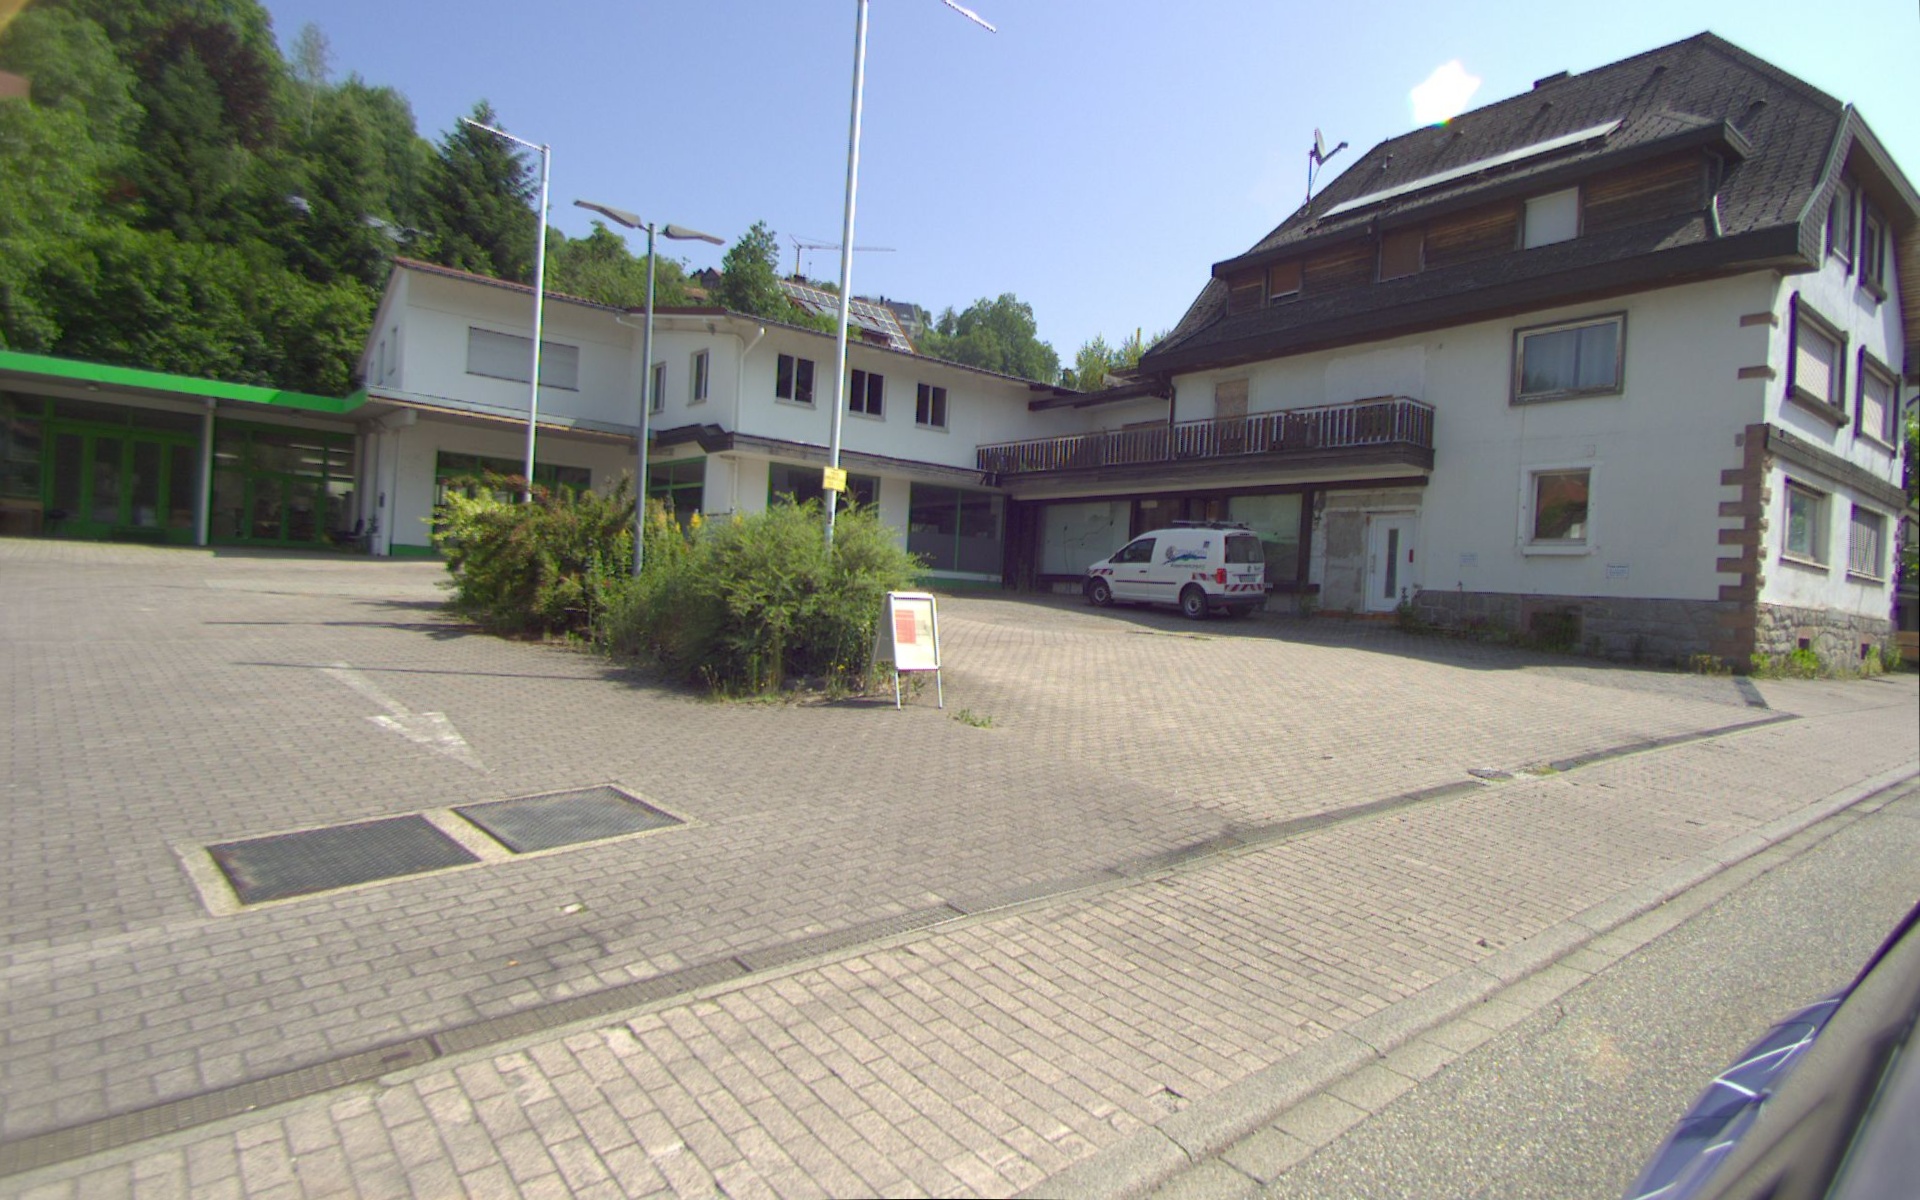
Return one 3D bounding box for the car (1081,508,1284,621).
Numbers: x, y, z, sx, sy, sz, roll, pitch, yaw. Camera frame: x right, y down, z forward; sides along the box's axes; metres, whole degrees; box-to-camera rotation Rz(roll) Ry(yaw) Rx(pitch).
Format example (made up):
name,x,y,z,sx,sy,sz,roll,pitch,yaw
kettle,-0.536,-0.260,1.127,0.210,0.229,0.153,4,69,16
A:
name,x,y,z,sx,sy,sz,roll,pitch,yaw
car,4.674,-0.833,21.729,1.607,2.007,4.019,-1,7,-39
